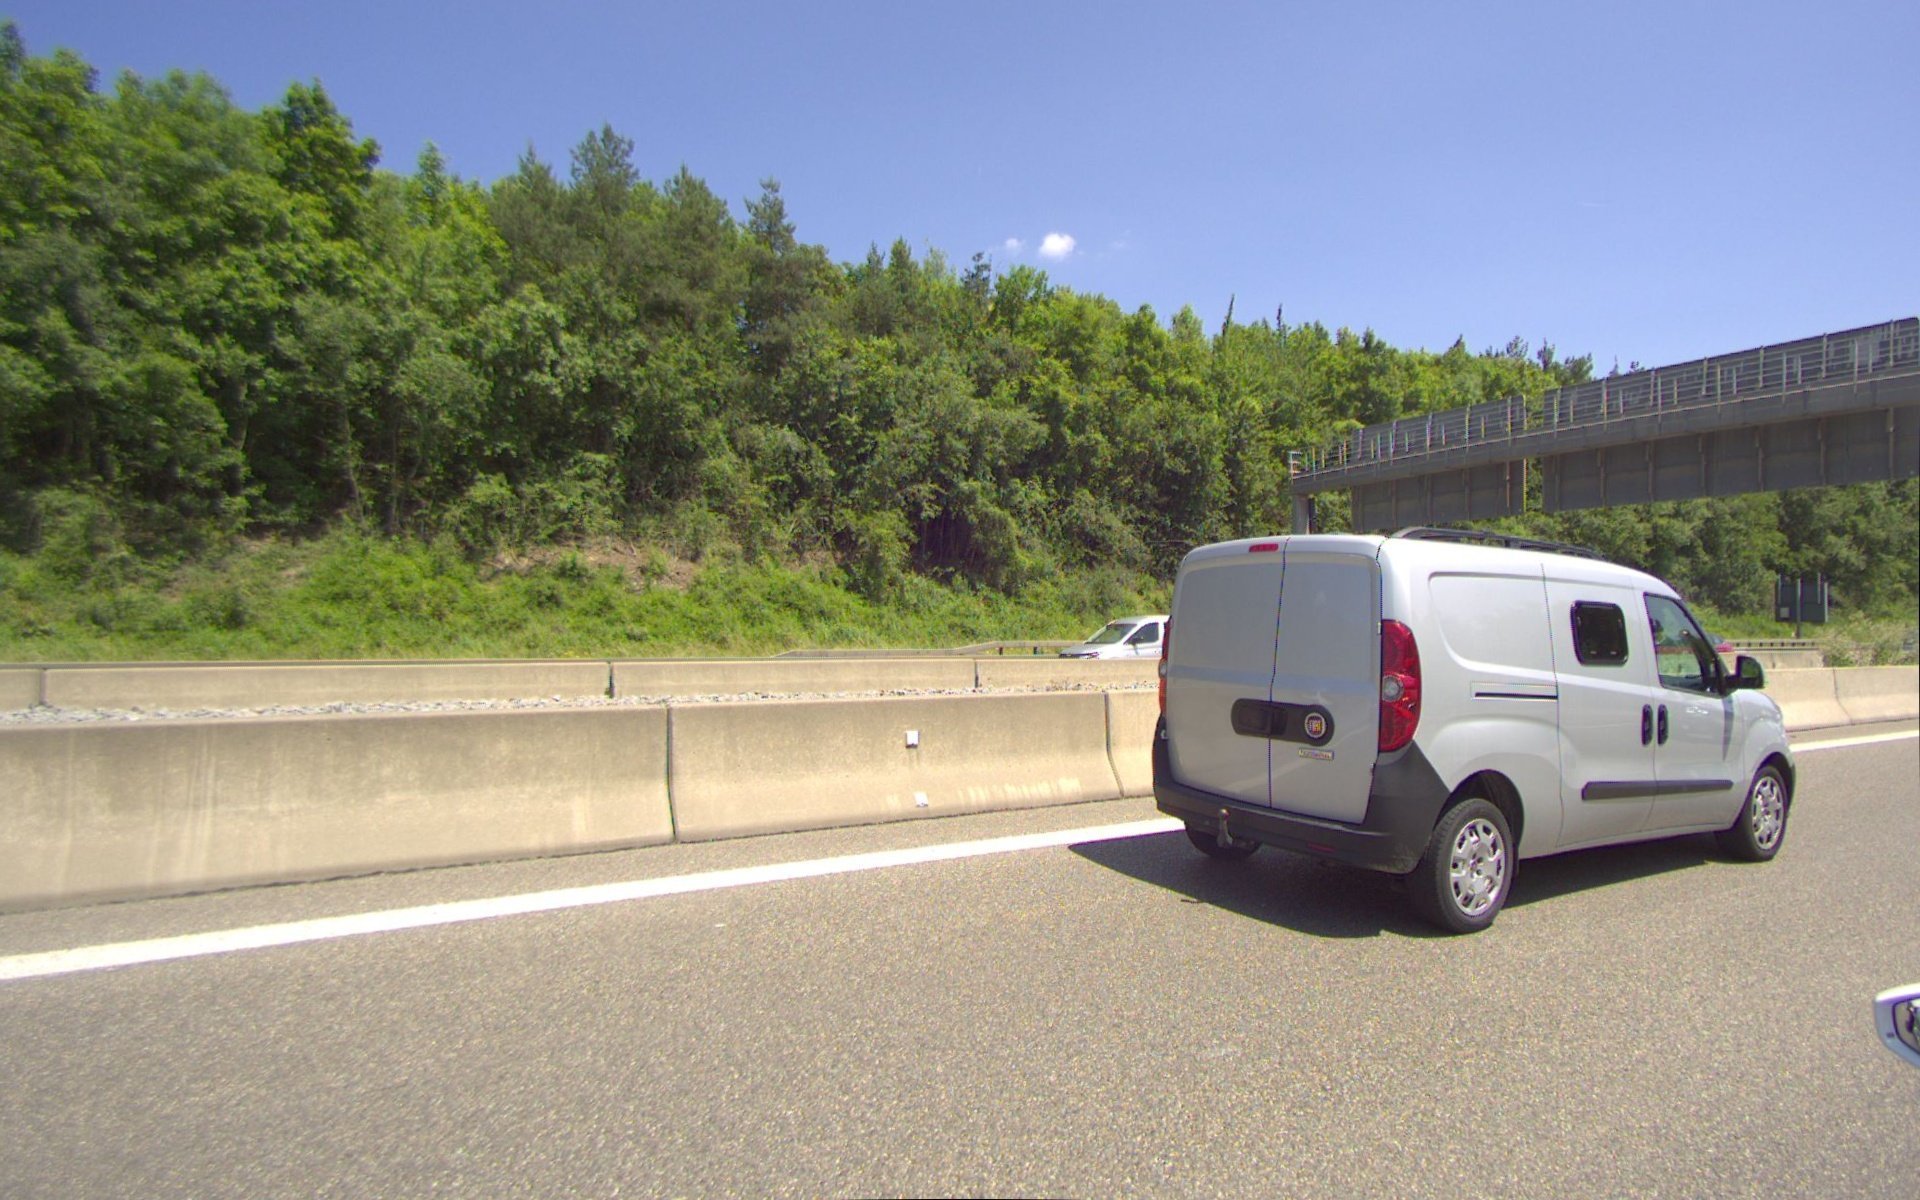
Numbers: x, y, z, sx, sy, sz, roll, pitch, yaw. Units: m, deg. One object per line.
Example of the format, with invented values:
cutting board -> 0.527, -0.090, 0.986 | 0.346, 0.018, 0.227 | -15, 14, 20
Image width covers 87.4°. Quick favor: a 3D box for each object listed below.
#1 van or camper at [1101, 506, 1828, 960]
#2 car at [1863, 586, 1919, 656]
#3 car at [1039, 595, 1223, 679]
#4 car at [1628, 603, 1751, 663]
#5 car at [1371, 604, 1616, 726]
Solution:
van or camper -> 3.223, 0.592, 6.168 | 4.508, 1.905, 1.844 | 1, 0, -31
car -> 29.998, 0.718, 30.875 | 5.097, 2.040, 1.983 | 3, -1, -32
car -> 4.492, 0.974, 26.276 | 4.417, 2.040, 1.985 | 3, -1, -28
car -> 27.080, 1.220, 37.285 | 4.313, 2.040, 2.113 | 3, -1, -30
car -> 10.044, 1.192, 18.860 | 4.294, 2.040, 1.985 | 3, -1, -28
